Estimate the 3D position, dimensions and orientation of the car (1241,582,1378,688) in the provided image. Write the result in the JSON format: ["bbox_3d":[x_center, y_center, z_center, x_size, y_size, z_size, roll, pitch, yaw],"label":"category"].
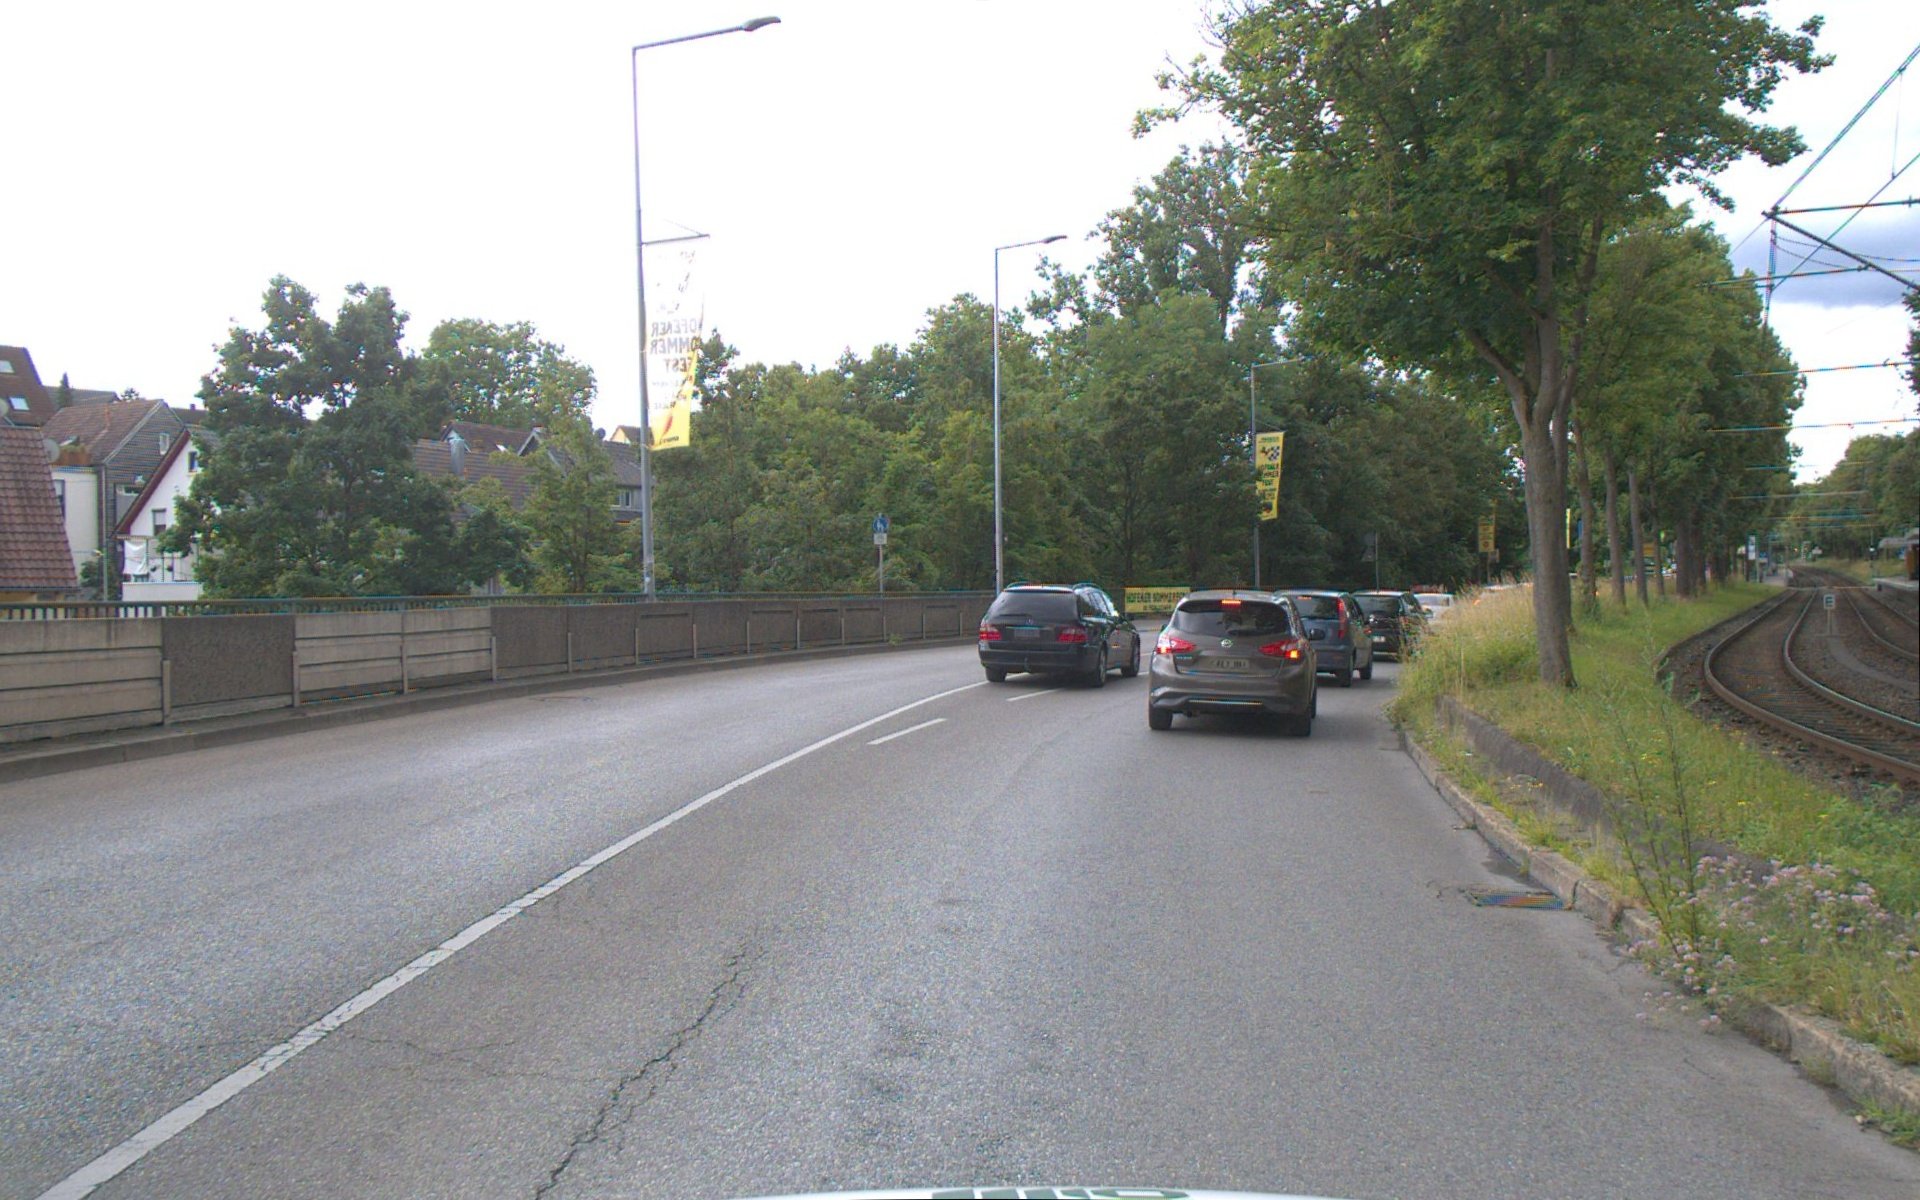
[{"bbox_3d":[5.875,0.553,27.457,1.853,1.601,4.002,1,0,17],"label":"car"}]

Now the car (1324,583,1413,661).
[{"bbox_3d":[8.801,0.461,35.454,1.545,1.565,4.002,-1,0,18],"label":"car"}]

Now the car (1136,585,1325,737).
[{"bbox_3d":[3.220,0.638,19.109,1.737,1.520,4.003,1,0,15],"label":"car"}]

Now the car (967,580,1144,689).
[{"bbox_3d":[1.578,0.456,25.661,1.812,1.512,4.424,1,1,16],"label":"car"}]

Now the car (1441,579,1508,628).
[{"bbox_3d":[17.486,0.119,56.108,1.768,1.567,3.999,2,0,23],"label":"car"}]

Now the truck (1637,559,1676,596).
[{"bbox_3d":[77.316,-2.507,183.543,2.606,4.007,10.088,1,1,31],"label":"truck"}]

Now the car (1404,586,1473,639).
[{"bbox_3d":[13.077,0.335,45.128,1.469,1.388,3.587,-1,0,21],"label":"car"}]
